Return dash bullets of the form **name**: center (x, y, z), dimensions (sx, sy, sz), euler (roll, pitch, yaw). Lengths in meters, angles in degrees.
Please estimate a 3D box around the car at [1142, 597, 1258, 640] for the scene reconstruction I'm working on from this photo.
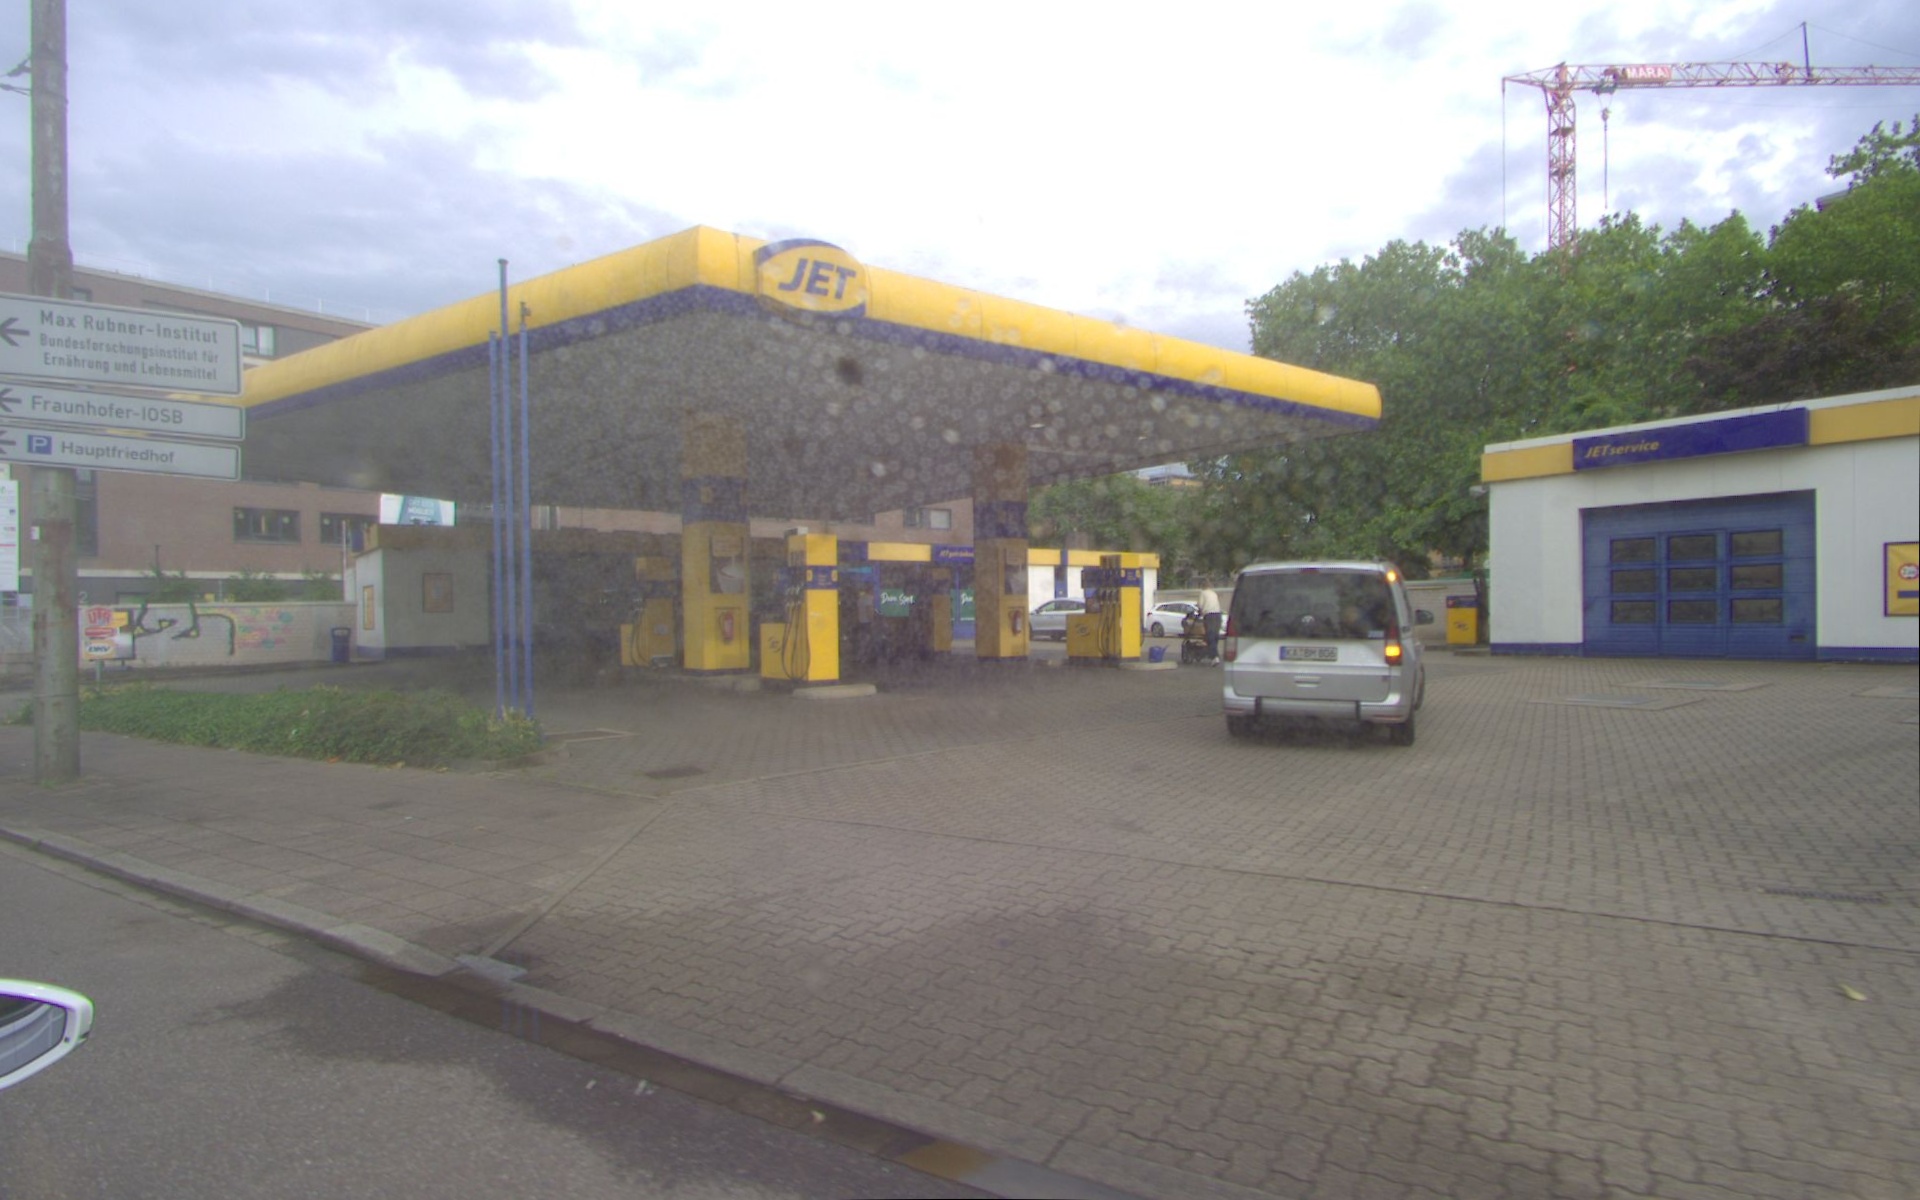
- **car**: center (9.714, 0.728, 40.826), dimensions (1.936, 1.607, 4.390), euler (1, 0, -37)

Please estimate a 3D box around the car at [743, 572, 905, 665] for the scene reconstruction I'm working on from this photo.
- **car**: center (-3.314, 0.440, 23.832), dimensions (1.804, 2.014, 4.219), euler (-2, 0, -40)

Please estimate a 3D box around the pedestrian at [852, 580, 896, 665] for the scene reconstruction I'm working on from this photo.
- **pedestrian**: center (-1.863, 0.490, 21.656), dimensions (0.698, 1.810, 0.623), euler (-1, -1, 35)

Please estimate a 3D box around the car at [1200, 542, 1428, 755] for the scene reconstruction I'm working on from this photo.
- **car**: center (4.090, 0.375, 11.230), dimensions (1.954, 1.868, 4.512), euler (-1, 2, 24)

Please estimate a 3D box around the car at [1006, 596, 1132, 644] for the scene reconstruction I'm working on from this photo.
- **car**: center (3.972, 0.673, 37.279), dimensions (1.919, 1.617, 4.722), euler (0, 1, -38)

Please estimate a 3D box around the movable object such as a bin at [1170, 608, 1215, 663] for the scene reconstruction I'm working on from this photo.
- **movable object such as a bin**: center (4.810, 0.729, 20.721), dimensions (0.592, 1.080, 0.794), euler (0, 2, -14)

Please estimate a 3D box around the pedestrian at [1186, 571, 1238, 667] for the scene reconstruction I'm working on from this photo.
- **pedestrian**: center (4.985, 0.350, 19.852), dimensions (0.592, 1.845, 0.968), euler (0, 3, -14)
